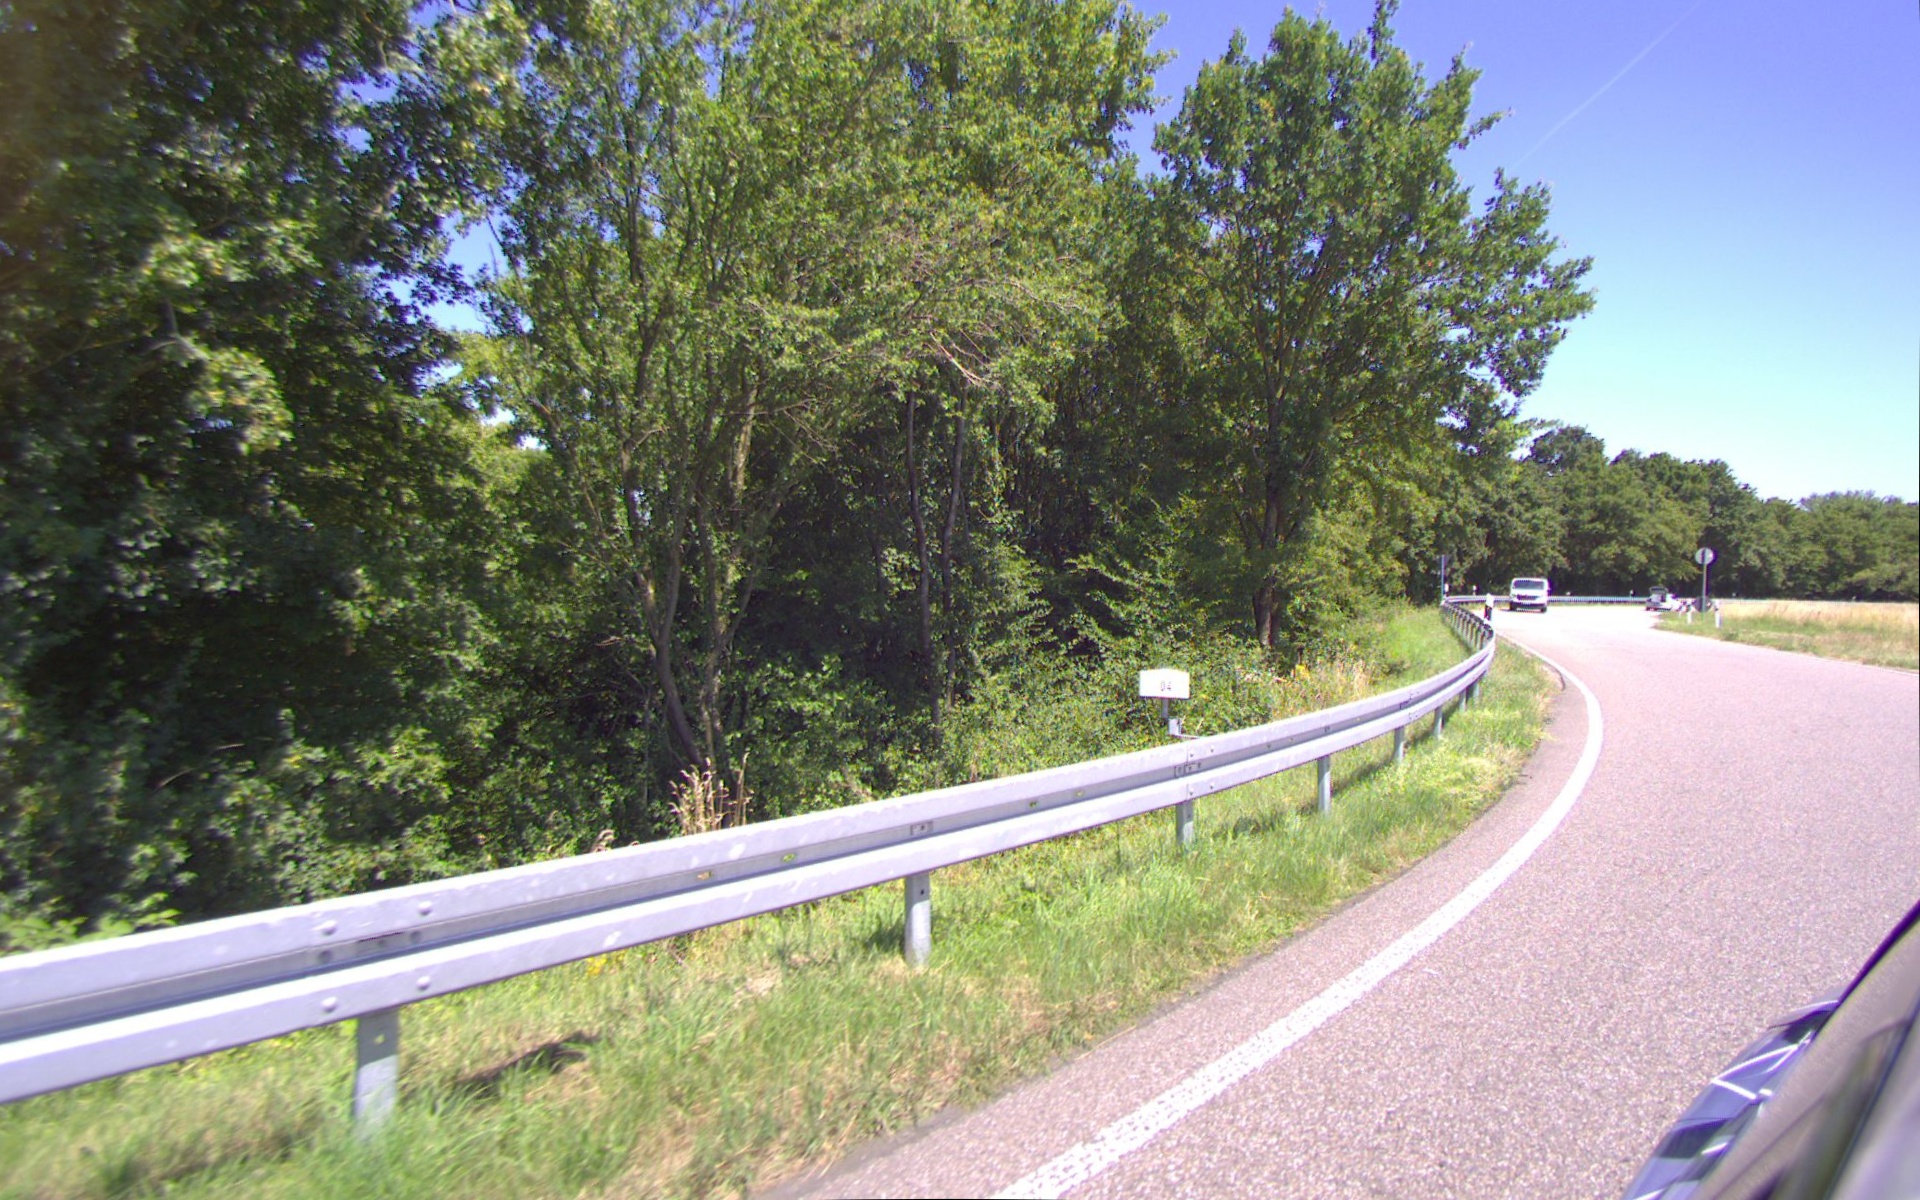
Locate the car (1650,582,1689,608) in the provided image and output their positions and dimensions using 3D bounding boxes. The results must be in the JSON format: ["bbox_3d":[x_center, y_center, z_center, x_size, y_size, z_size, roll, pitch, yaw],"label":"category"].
[{"bbox_3d":[57.645,-0.411,82.196,1.993,2.038,4.377,3,2,42],"label":"car"}]

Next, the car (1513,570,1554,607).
[{"bbox_3d":[34.023,-0.723,60.054,1.983,2.038,4.398,3,2,29],"label":"car"}]
